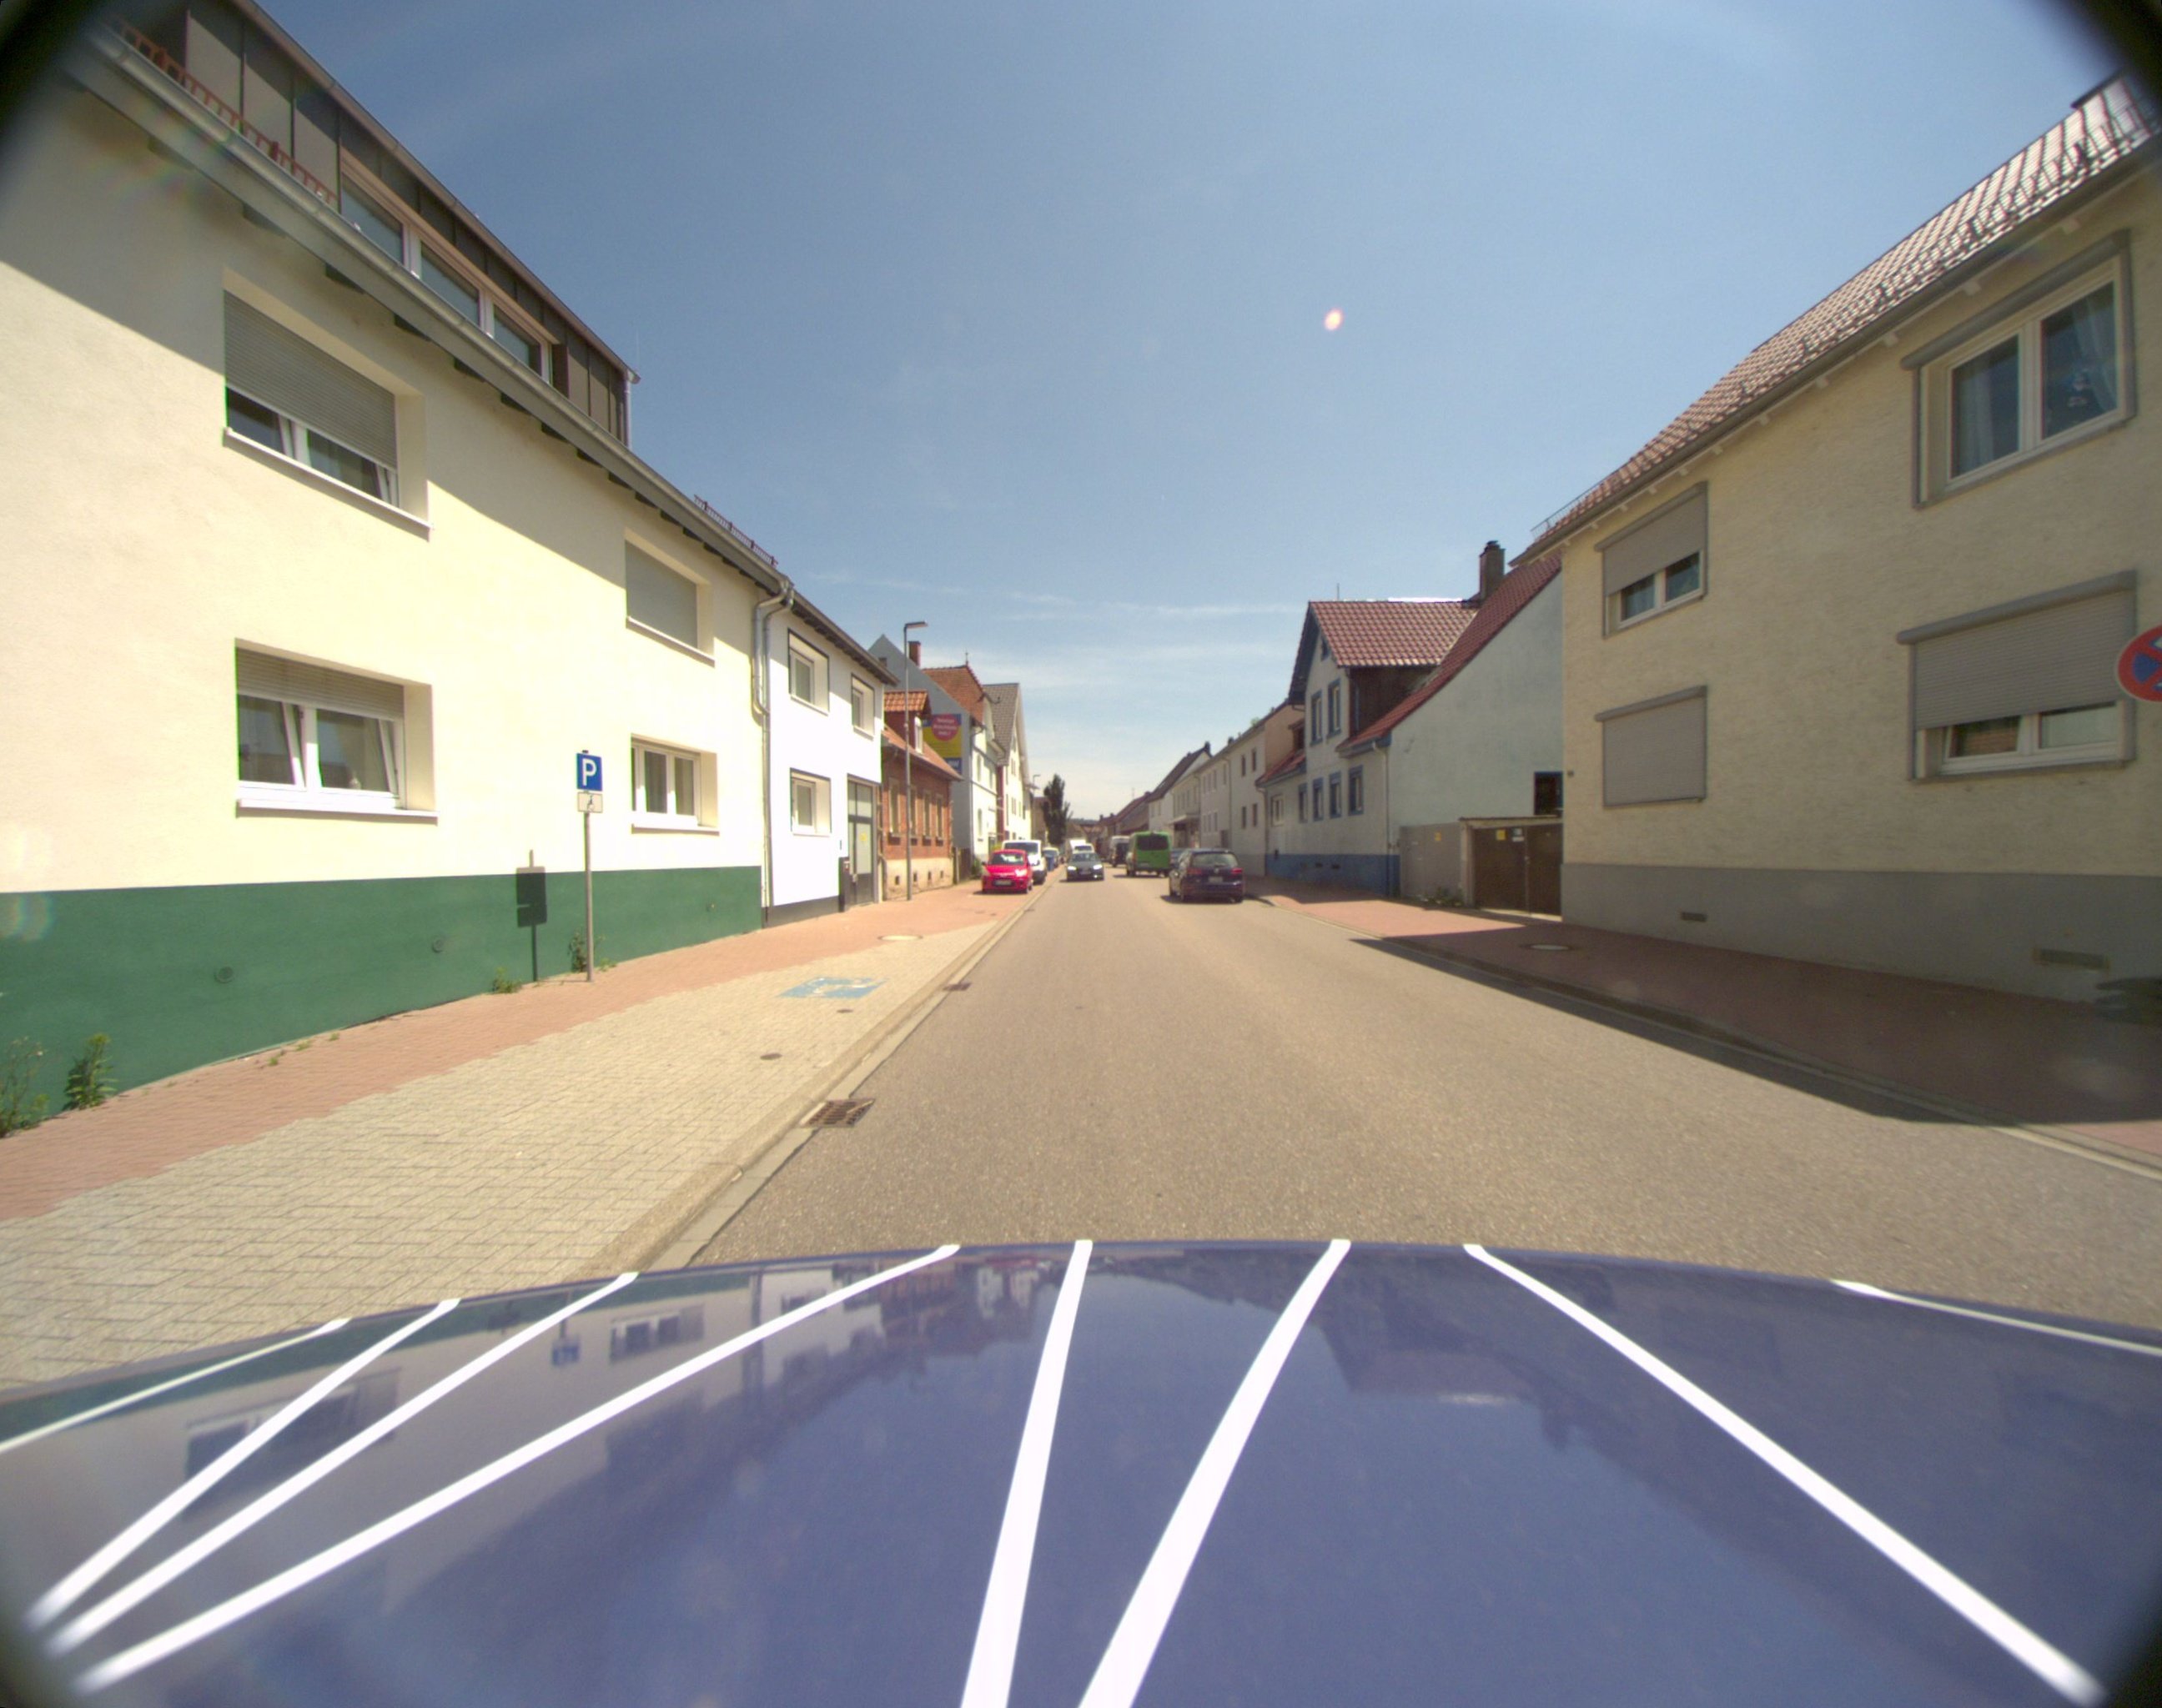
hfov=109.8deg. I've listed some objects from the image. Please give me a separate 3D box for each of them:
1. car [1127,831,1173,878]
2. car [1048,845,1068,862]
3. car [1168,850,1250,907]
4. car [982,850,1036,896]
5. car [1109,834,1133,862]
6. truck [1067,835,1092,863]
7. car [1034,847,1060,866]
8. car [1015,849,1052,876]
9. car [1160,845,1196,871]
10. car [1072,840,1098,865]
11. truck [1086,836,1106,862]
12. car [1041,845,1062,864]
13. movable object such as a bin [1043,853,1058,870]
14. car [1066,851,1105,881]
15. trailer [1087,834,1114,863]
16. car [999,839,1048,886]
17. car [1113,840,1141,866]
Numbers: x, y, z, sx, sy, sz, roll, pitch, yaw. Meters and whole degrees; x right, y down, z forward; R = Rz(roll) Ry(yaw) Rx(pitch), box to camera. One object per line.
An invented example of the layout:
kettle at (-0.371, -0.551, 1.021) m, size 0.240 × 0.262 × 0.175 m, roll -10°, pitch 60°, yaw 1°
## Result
car at (3.657, 0.009, 41.323) m, size 2.056 × 2.340 × 6.081 m, roll 0°, pitch 1°, yaw 1°
car at (-2.246, -0.029, 74.970) m, size 1.807 × 1.604 × 4.548 m, roll 1°, pitch 0°, yaw 0°
car at (3.721, 0.671, 22.811) m, size 1.769 × 1.528 × 4.077 m, roll 0°, pitch 1°, yaw 0°
car at (-2.554, 0.631, 27.572) m, size 1.614 × 1.519 × 3.676 m, roll 0°, pitch 1°, yaw 0°
car at (3.766, -0.595, 71.856) m, size 2.130 × 2.527 × 5.461 m, roll 0°, pitch 1°, yaw 1°
truck at (-0.258, -0.675, 102.287) m, size 2.868 × 3.492 × 8.316 m, roll 0°, pitch 1°, yaw -3°
car at (-2.644, 0.155, 60.209) m, size 1.704 × 1.438 × 4.836 m, roll 2°, pitch 1°, yaw 1°
car at (-2.667, 0.445, 43.375) m, size 1.774 × 1.457 × 4.577 m, roll 0°, pitch 1°, yaw 1°
car at (6.350, 0.218, 50.161) m, size 1.813 × 1.548 × 4.564 m, roll -3°, pitch 1°, yaw 1°
car at (0.328, -0.145, 65.228) m, size 2.079 × 1.949 × 5.518 m, roll -2°, pitch 0°, yaw 0°
truck at (2.346, -0.835, 120.792) m, size 2.626 × 3.963 × 6.848 m, roll 1°, pitch 1°, yaw -4°
car at (-2.559, 0.017, 66.698) m, size 1.611 × 1.513 × 3.544 m, roll 2°, pitch 1°, yaw 0°
movable object such as a bin at (-2.058, 0.508, 51.842) m, size 0.723 × 1.067 × 0.973 m, roll 1°, pitch 1°, yaw 17°
car at (0.206, 0.564, 37.188) m, size 1.786 × 1.364 × 3.606 m, roll -2°, pitch 0°, yaw 0°
trailer at (2.806, -0.912, 113.364) m, size 2.638 × 3.956 × 15.690 m, roll 1°, pitch 1°, yaw -4°
car at (-2.529, 0.327, 34.461) m, size 1.951 × 1.959 × 4.783 m, roll 0°, pitch 1°, yaw -1°
car at (3.508, -0.075, 59.060) m, size 1.886 × 1.932 × 5.117 m, roll 0°, pitch 1°, yaw 0°
